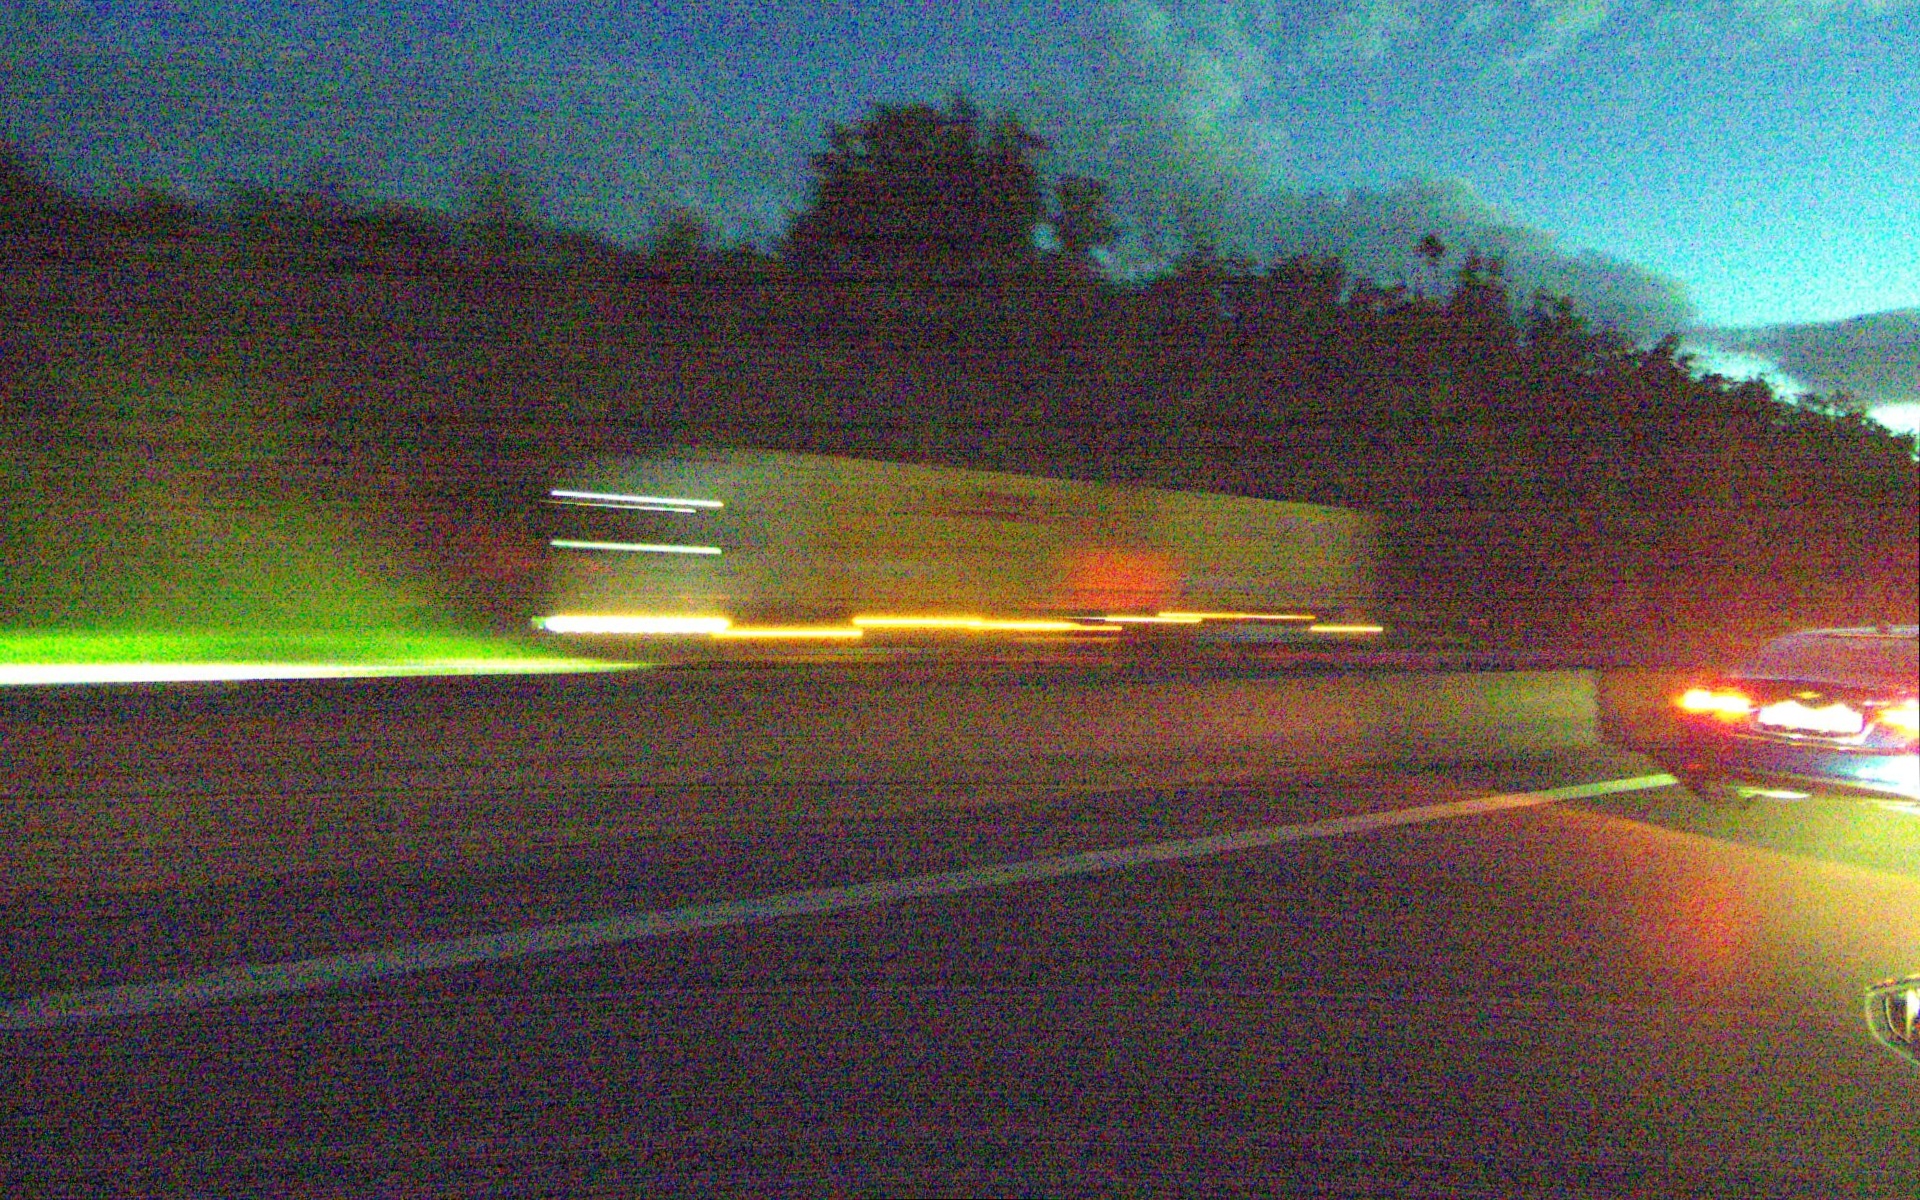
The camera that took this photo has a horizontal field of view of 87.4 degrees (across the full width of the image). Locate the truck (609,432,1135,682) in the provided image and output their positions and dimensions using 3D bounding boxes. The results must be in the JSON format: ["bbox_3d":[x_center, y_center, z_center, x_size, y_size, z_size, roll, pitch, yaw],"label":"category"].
[{"bbox_3d":[-1.420,-0.600,20.554,10.512,4.126,2.846,2,0,-31],"label":"truck"}]

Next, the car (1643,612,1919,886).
[{"bbox_3d":[7.815,0.904,7.778,5.584,1.539,1.984,0,1,-30],"label":"car"}]

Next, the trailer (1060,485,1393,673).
[{"bbox_3d":[6.950,-0.373,25.588,8.769,4.126,2.846,1,0,-31],"label":"trailer"}]
